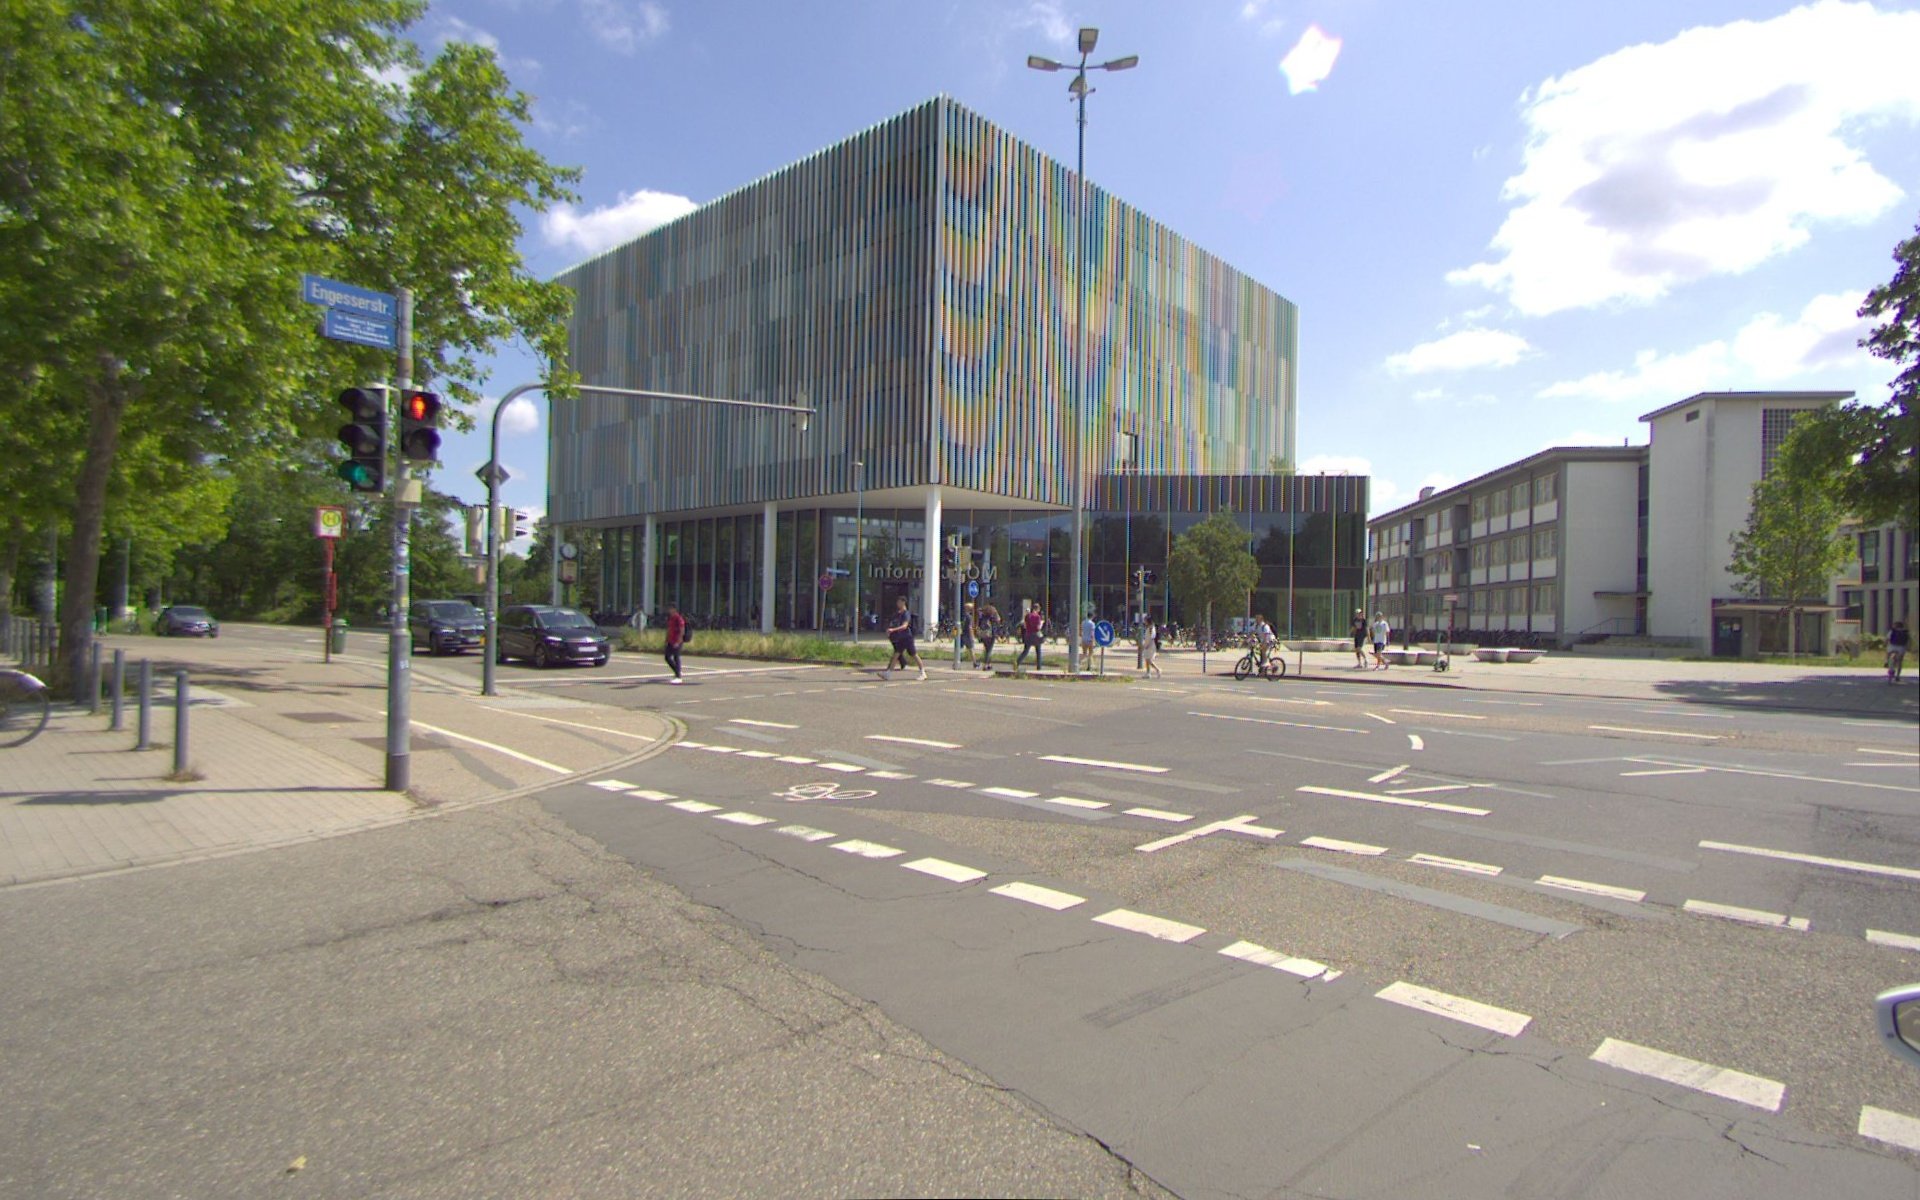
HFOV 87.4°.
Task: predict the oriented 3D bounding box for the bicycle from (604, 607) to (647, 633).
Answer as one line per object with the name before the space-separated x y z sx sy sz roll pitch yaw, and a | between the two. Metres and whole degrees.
bicycle | -24.888 1.508 74.759 0.975 1.863 2.935 2 -1 42

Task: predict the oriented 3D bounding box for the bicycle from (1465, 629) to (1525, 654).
bicycle | 32.438 2.523 60.919 2.906 1.381 1.276 2 -1 5

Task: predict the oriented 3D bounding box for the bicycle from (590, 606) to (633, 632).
bicycle | -26.422 1.470 76.204 0.949 1.863 2.935 2 -1 42

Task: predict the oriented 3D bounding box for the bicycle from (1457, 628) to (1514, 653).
bicycle | 32.543 2.514 62.199 2.906 1.381 1.118 2 -1 5

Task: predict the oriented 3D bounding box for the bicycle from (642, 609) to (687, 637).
bicycle | -20.793 1.606 70.739 0.949 1.863 2.934 2 -1 44

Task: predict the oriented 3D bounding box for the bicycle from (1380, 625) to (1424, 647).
bicycle | 34.321 2.774 78.034 2.906 1.595 1.118 2 -1 5

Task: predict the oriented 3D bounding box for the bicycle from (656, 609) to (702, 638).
bicycle | -19.340 1.640 69.246 0.949 1.863 2.933 2 -1 44

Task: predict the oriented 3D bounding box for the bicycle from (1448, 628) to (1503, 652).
bicycle | 32.655 2.534 63.671 2.906 1.381 1.118 2 -1 5

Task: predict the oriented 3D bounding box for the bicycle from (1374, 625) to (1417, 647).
bicycle | 34.534 2.878 79.695 2.906 1.595 1.118 2 -1 5

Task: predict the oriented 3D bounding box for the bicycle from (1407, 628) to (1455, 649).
bicycle | 33.576 2.724 71.644 2.906 1.381 1.118 2 -1 5

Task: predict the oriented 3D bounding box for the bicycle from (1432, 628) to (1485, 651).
bicycle | 32.907 2.614 66.297 2.906 1.381 1.118 2 -1 5

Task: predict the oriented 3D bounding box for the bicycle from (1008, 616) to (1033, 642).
bicycle | 3.150 1.478 52.121 1.177 1.253 2.953 2 -1 6

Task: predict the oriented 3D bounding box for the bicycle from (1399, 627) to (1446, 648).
bicycle | 33.961 2.755 73.785 2.906 1.381 1.118 2 -1 5

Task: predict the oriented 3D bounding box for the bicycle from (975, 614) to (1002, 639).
bicycle | 1.516 1.371 52.197 1.177 1.253 2.953 2 -1 6

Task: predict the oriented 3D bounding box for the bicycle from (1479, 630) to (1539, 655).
bicycle | 32.370 2.497 59.271 2.906 1.381 1.118 2 -1 5

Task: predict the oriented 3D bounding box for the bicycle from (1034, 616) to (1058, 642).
bicycle | 4.445 1.471 51.987 1.177 1.253 2.953 2 -1 5

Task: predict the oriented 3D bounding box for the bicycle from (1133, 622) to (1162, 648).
bicycle | 9.569 1.790 51.495 1.177 1.253 2.953 2 -1 6

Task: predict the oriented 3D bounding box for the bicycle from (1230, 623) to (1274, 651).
bicycle | 14.707 1.848 50.739 1.178 1.253 2.950 2 -1 -3

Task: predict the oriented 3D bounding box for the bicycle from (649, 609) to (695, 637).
bicycle | -20.062 1.623 70.019 0.949 1.863 2.933 2 -1 44

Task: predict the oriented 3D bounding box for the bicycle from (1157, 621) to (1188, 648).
bicycle | 10.830 1.752 51.297 1.177 1.253 2.953 2 -1 5

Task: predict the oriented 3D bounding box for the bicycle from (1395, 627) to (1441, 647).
bicycle | 34.224 2.786 75.138 2.906 1.381 1.118 2 -1 5

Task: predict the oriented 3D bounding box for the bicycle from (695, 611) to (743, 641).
bicycle | -15.685 1.725 65.507 0.949 1.863 2.933 2 -1 44

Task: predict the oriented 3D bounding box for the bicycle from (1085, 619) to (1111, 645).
bicycle | 7.090 1.629 51.713 1.177 1.253 2.953 2 -1 6

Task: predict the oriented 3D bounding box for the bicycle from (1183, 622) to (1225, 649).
bicycle | 12.299 1.782 50.753 1.178 1.253 2.950 2 -1 -3

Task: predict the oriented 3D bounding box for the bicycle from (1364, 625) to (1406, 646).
bicycle | 34.817 2.927 82.256 2.906 1.595 1.118 2 -1 5

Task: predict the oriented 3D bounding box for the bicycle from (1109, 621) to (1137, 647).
bicycle | 8.361 1.724 51.594 1.177 1.253 2.953 2 -1 6

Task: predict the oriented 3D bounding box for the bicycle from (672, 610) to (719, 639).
bicycle | -17.816 1.676 67.709 0.949 1.863 2.932 2 -1 45

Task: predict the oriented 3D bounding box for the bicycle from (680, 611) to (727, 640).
bicycle | -17.106 1.692 66.971 0.949 1.863 2.932 2 -1 45

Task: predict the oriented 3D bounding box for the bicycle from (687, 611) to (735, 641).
bicycle | -16.394 1.709 66.250 0.949 1.863 2.932 2 -1 45

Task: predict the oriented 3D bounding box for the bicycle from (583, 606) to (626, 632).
bicycle | -27.234 1.450 76.994 0.949 1.863 2.935 2 -1 42

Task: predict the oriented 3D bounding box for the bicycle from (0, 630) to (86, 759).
bicycle | -9.218 0.841 9.006 2.008 1.137 0.764 2 -1 -39

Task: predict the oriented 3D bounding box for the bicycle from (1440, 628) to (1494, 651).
bicycle | 32.775 2.561 64.992 2.906 1.381 1.118 2 -1 5

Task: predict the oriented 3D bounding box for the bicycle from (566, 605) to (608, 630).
bicycle | -29.303 1.399 78.879 0.949 1.863 2.935 2 -1 42

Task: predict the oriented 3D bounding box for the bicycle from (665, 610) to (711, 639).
bicycle | -18.530 1.660 68.483 0.949 1.863 2.932 2 -1 45

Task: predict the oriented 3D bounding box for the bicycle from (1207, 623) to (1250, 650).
bicycle | 13.561 1.850 50.821 1.178 1.253 2.950 2 -1 -3

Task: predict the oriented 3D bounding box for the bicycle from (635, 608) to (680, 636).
bicycle | -21.516 1.588 71.438 0.949 1.863 2.934 2 -1 44

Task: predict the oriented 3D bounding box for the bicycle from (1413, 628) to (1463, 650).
bicycle | 33.256 2.687 69.931 2.906 1.381 1.118 2 -1 5
